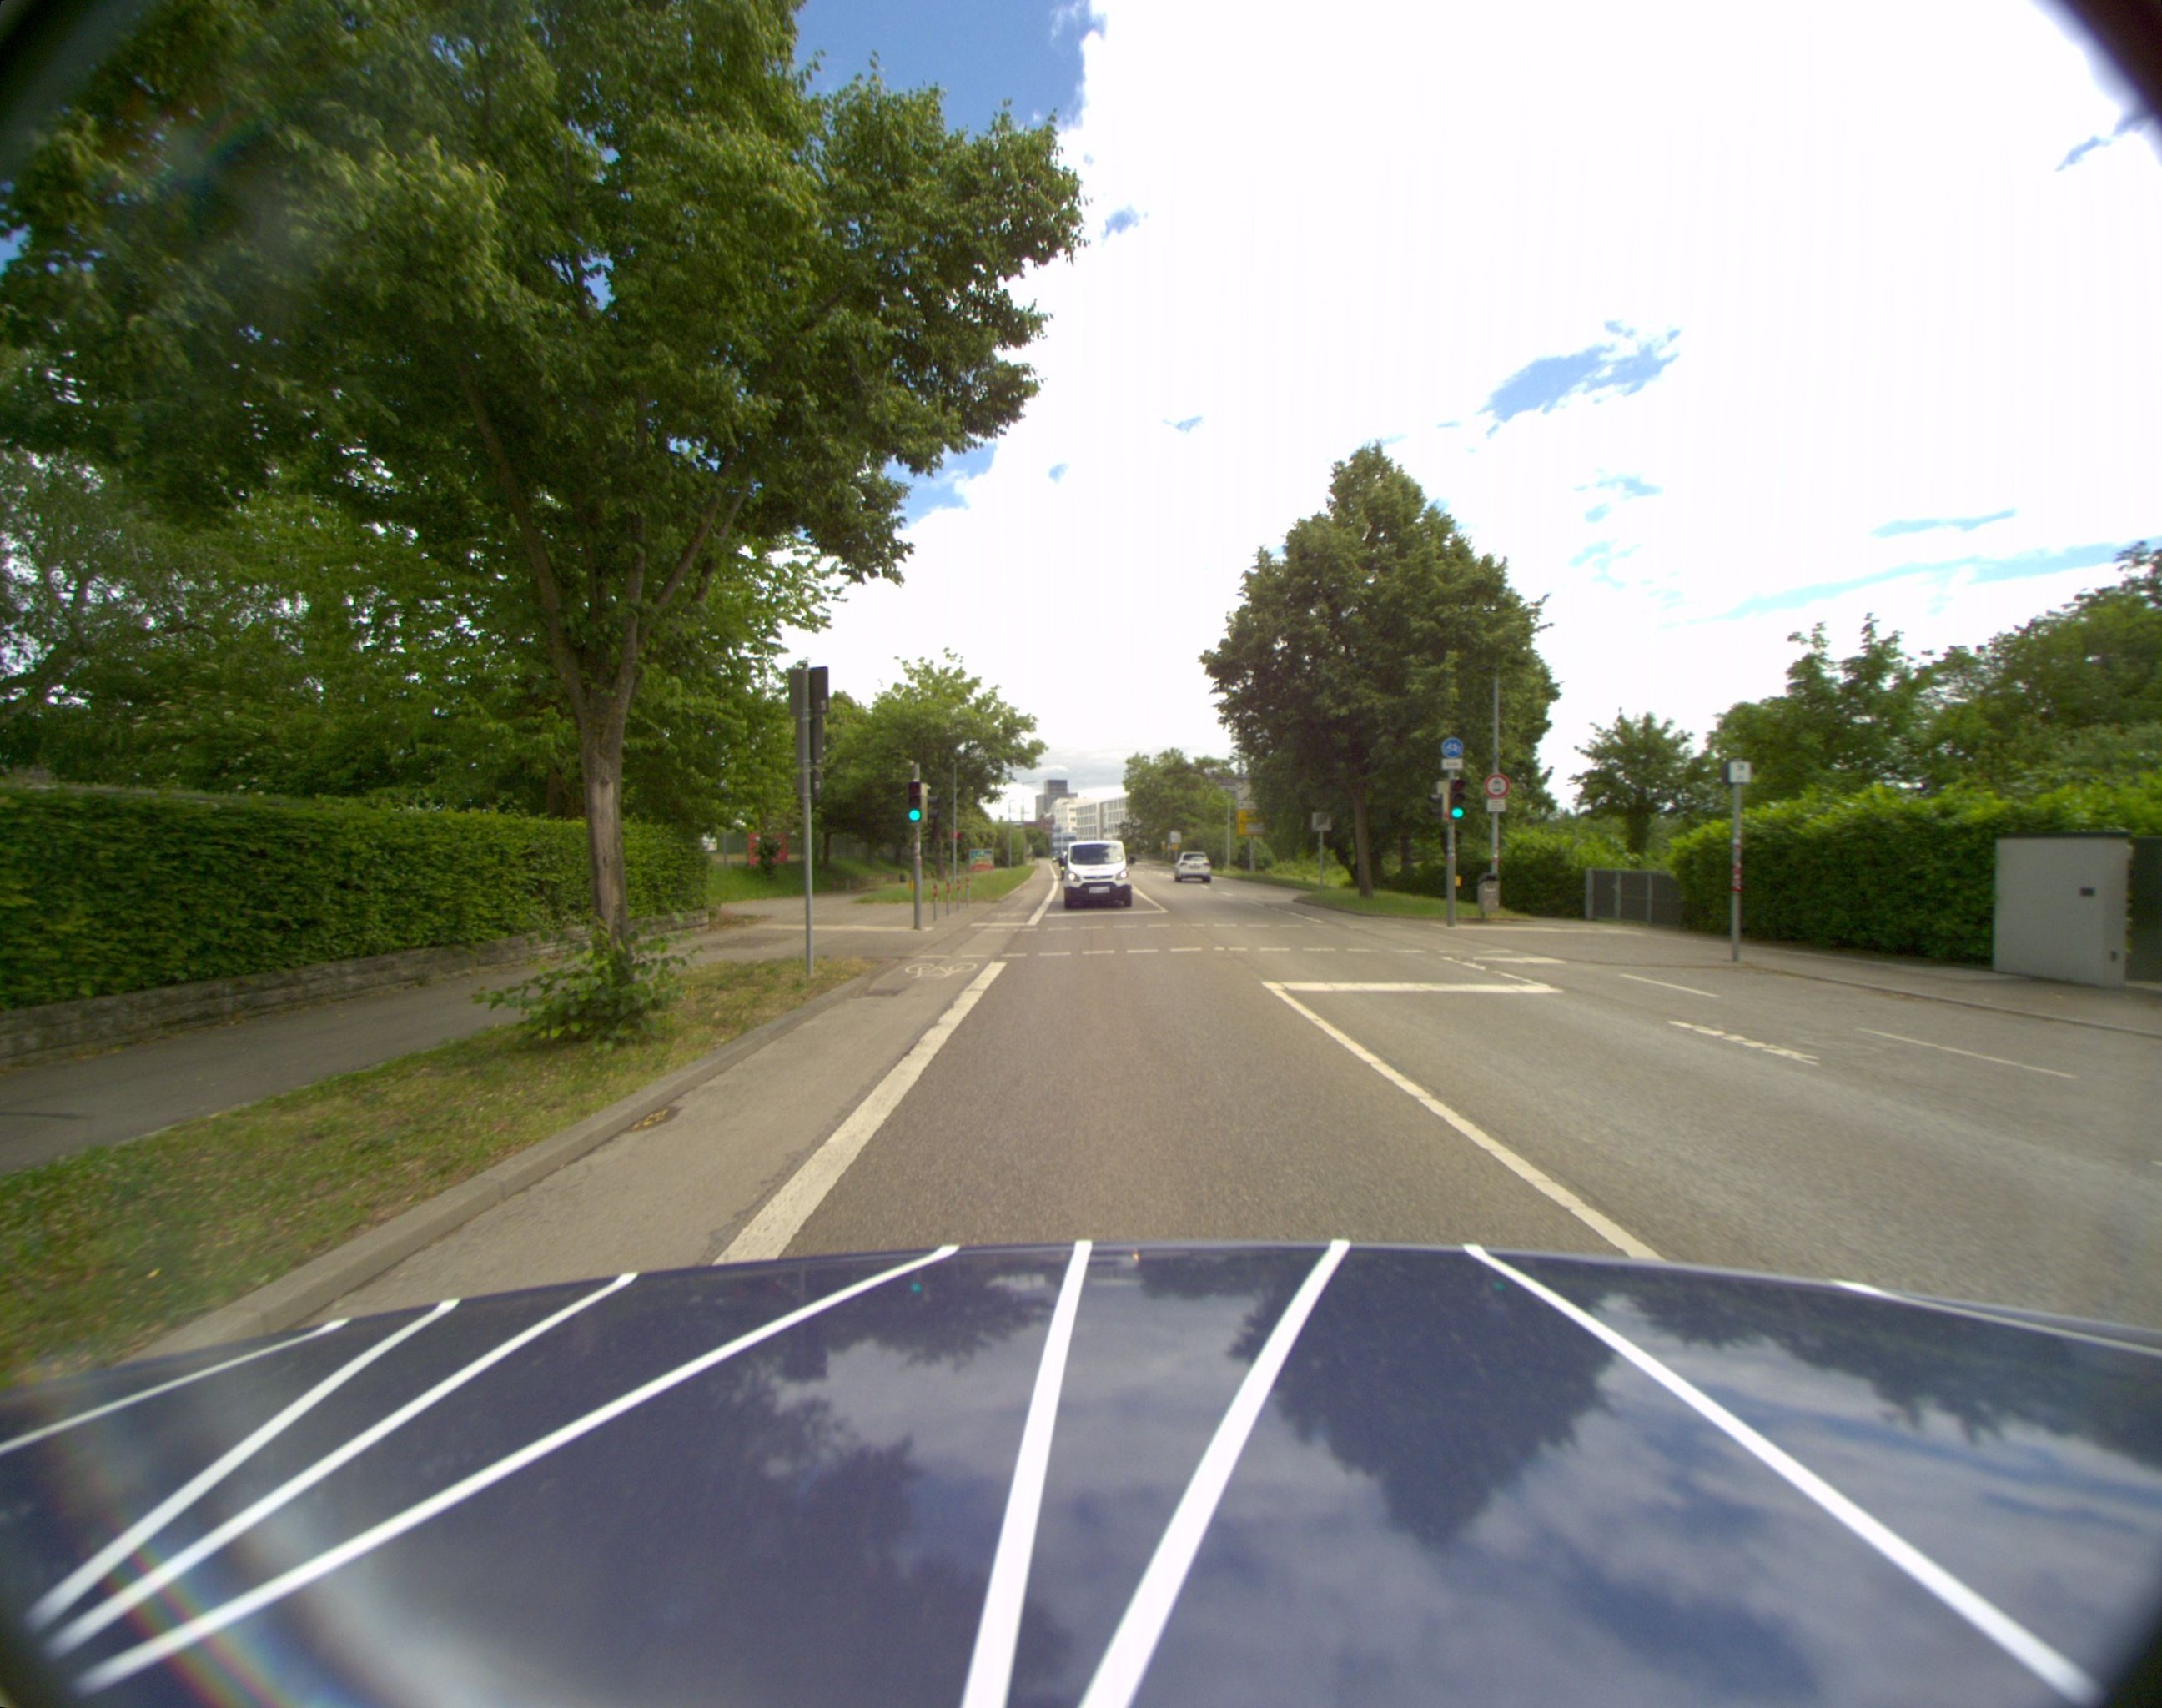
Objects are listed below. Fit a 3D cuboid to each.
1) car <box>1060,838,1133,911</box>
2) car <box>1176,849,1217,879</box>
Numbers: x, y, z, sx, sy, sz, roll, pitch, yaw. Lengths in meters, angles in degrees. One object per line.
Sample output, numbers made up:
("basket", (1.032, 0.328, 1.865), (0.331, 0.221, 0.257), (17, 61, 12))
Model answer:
("car", (0.484, 0.560, 23.977), (1.998, 2.002, 5.188), (-2, 1, 1))
("car", (6.381, 0.524, 42.336), (1.786, 1.622, 4.000), (0, 0, 1))
